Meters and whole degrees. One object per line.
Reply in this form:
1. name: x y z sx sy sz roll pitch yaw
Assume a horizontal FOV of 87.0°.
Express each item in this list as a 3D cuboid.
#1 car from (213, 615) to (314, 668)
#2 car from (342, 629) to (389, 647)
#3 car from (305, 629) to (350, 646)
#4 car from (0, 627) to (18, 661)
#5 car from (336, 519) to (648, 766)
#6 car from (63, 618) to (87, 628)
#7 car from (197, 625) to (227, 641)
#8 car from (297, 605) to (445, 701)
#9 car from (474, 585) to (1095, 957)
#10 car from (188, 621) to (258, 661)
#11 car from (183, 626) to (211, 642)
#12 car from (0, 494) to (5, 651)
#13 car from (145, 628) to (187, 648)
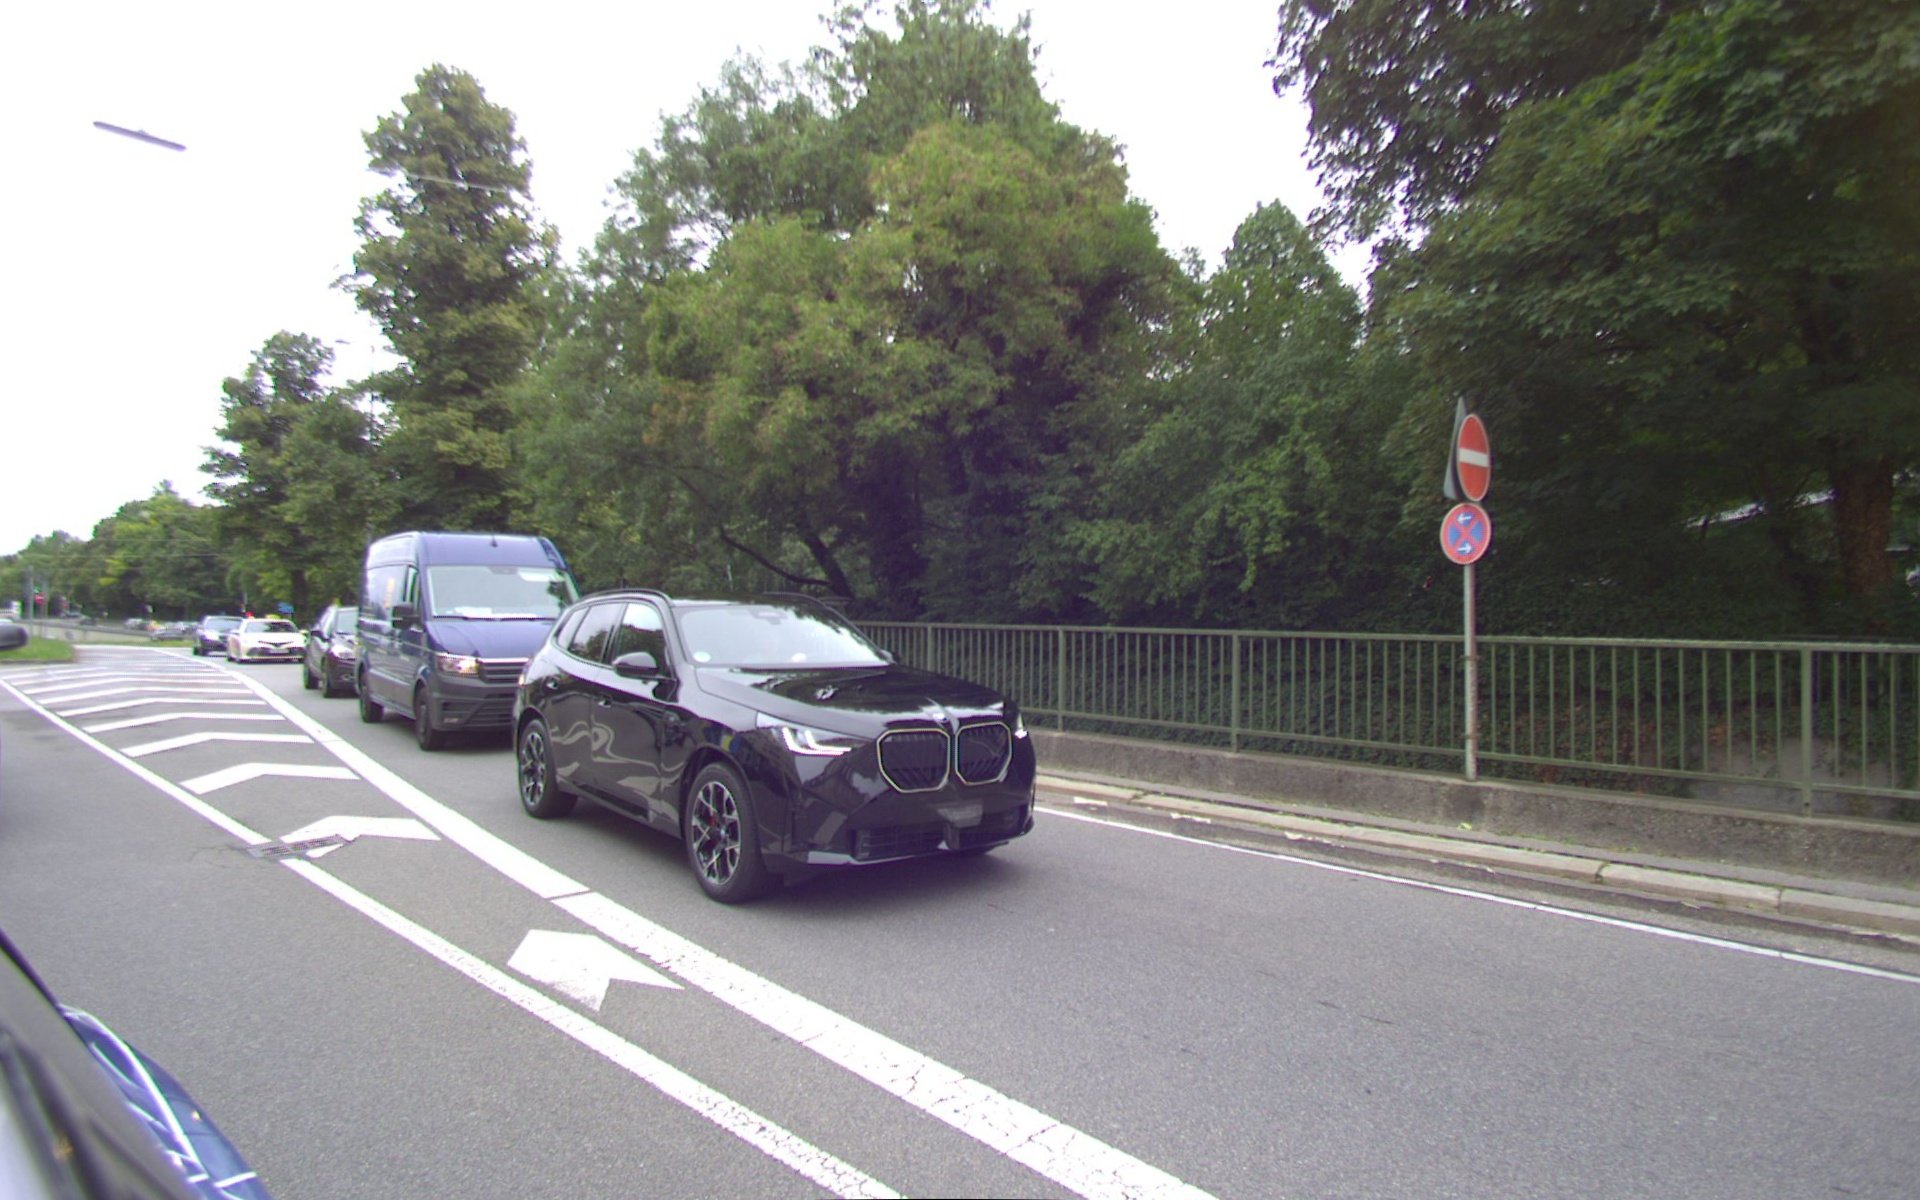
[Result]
1. car: -22.608 1.313 32.775 1.964 1.577 4.658 2 -2 -44
2. car: -51.532 3.291 87.730 4.519 1.457 1.974 -1 -3 38
3. car: -58.024 3.427 92.781 4.700 1.546 1.974 -1 -3 38
4. car: -46.658 2.103 48.720 1.876 1.577 4.775 2 -2 -43
5. car: -6.291 0.461 13.100 2.156 2.482 5.861 2 -1 -40
6. car: -135.172 3.532 154.523 4.026 1.457 1.874 -1 -3 36
7. car: -84.833 3.742 114.780 3.998 1.759 1.860 -1 -2 41
8. car: -11.456 0.963 19.549 1.961 1.640 4.282 1 -2 -37
9. car: -1.552 0.747 6.857 1.890 1.598 4.837 -2 1 -41
10. car: -30.961 1.680 42.465 1.963 1.577 4.279 2 -2 -41
11. car: -89.849 3.996 119.222 3.998 1.759 1.842 -1 -2 41
12. car: -8.140 0.452 7.034 4.553 2.227 1.832 0 -1 43
13. car: -71.537 3.395 91.203 4.519 1.765 1.975 -1 -1 38
